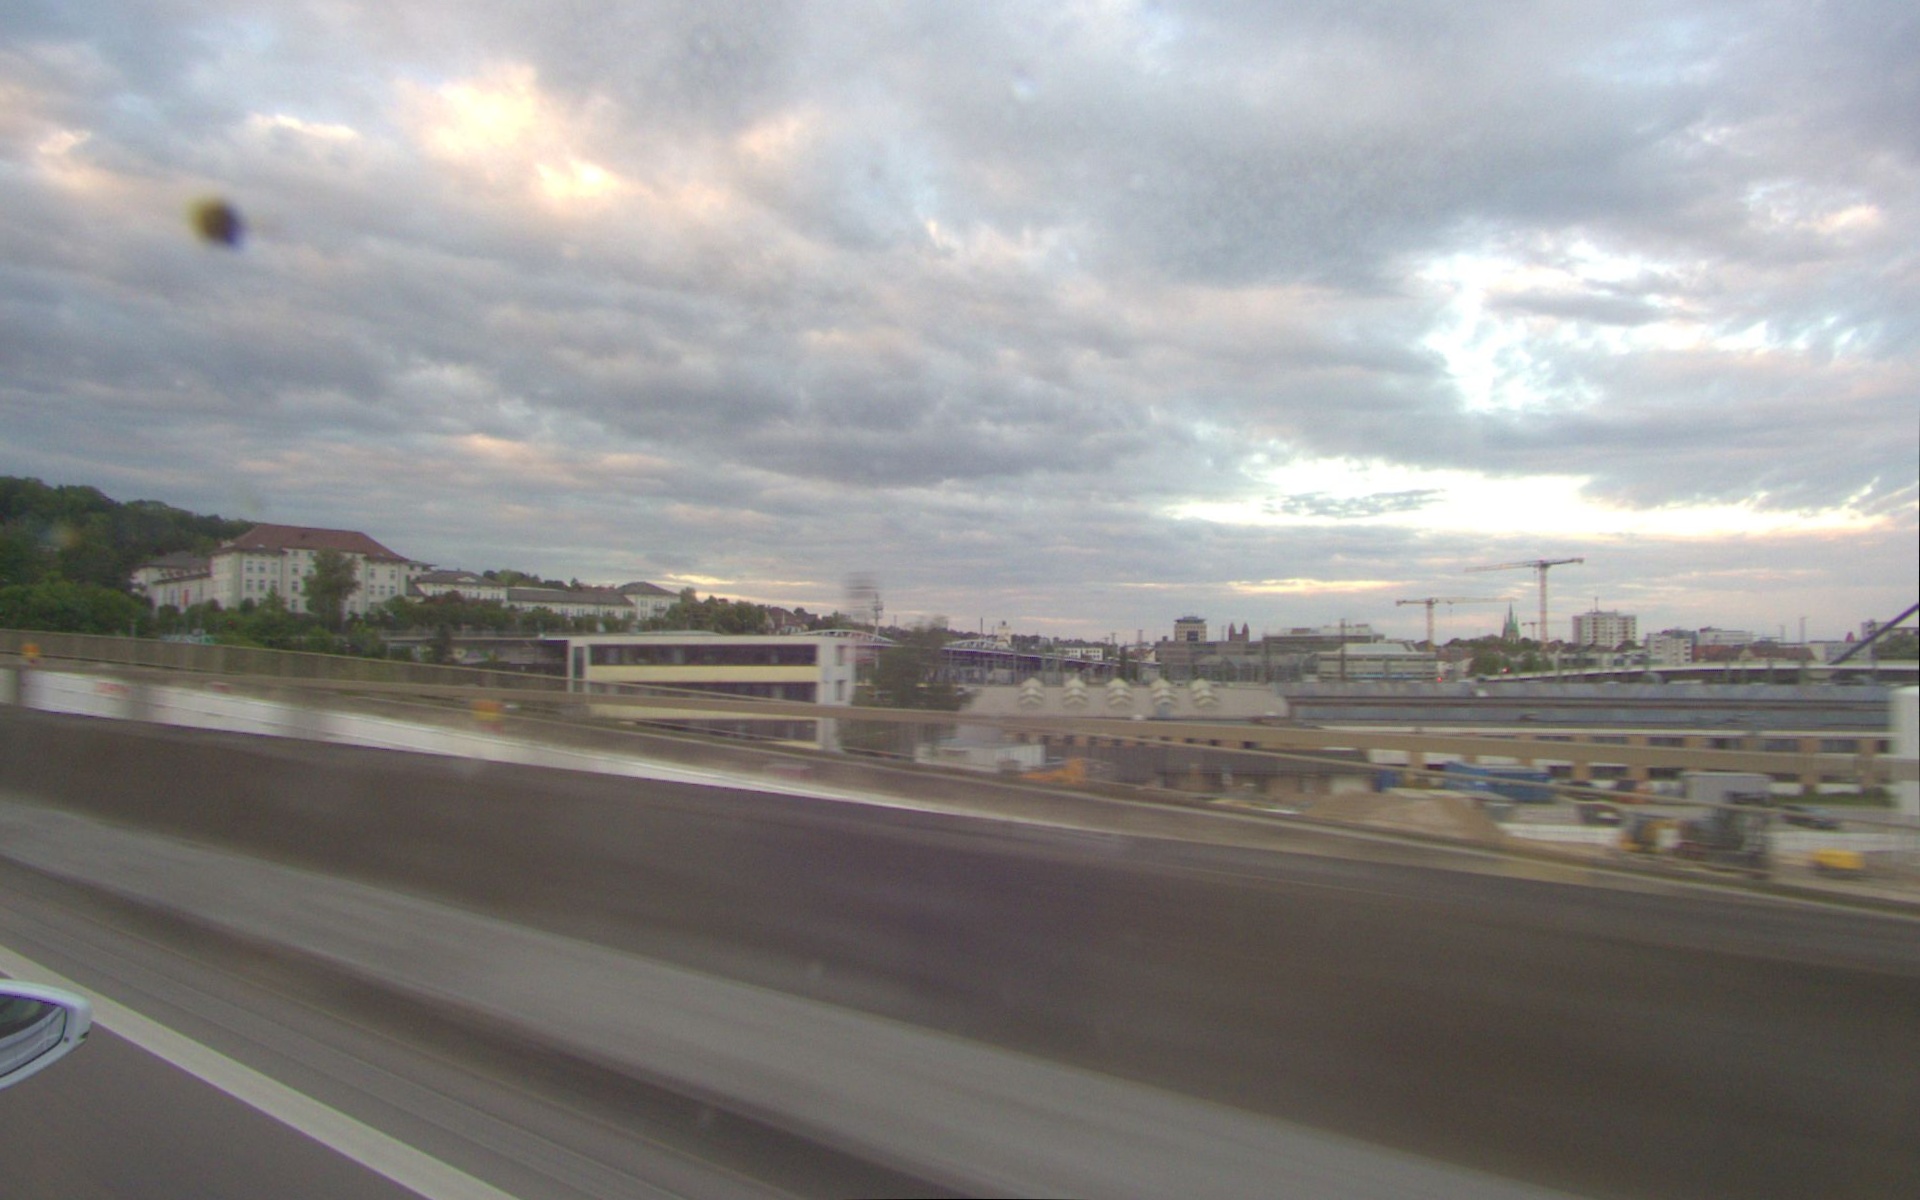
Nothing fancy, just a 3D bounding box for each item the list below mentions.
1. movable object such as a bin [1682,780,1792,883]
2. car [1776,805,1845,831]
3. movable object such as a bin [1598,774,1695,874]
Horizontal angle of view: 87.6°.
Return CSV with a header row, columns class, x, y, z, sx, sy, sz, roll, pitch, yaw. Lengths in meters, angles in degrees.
class,x,y,z,sx,sy,sz,roll,pitch,yaw
movable object such as a bin,38.045,11.242,49.255,2.735,4.356,4.960,2,-7,19
car,63.316,16.238,74.610,1.835,1.435,4.010,4,-7,3
movable object such as a bin,34.151,11.047,50.008,2.735,4.356,4.960,2,-7,19
